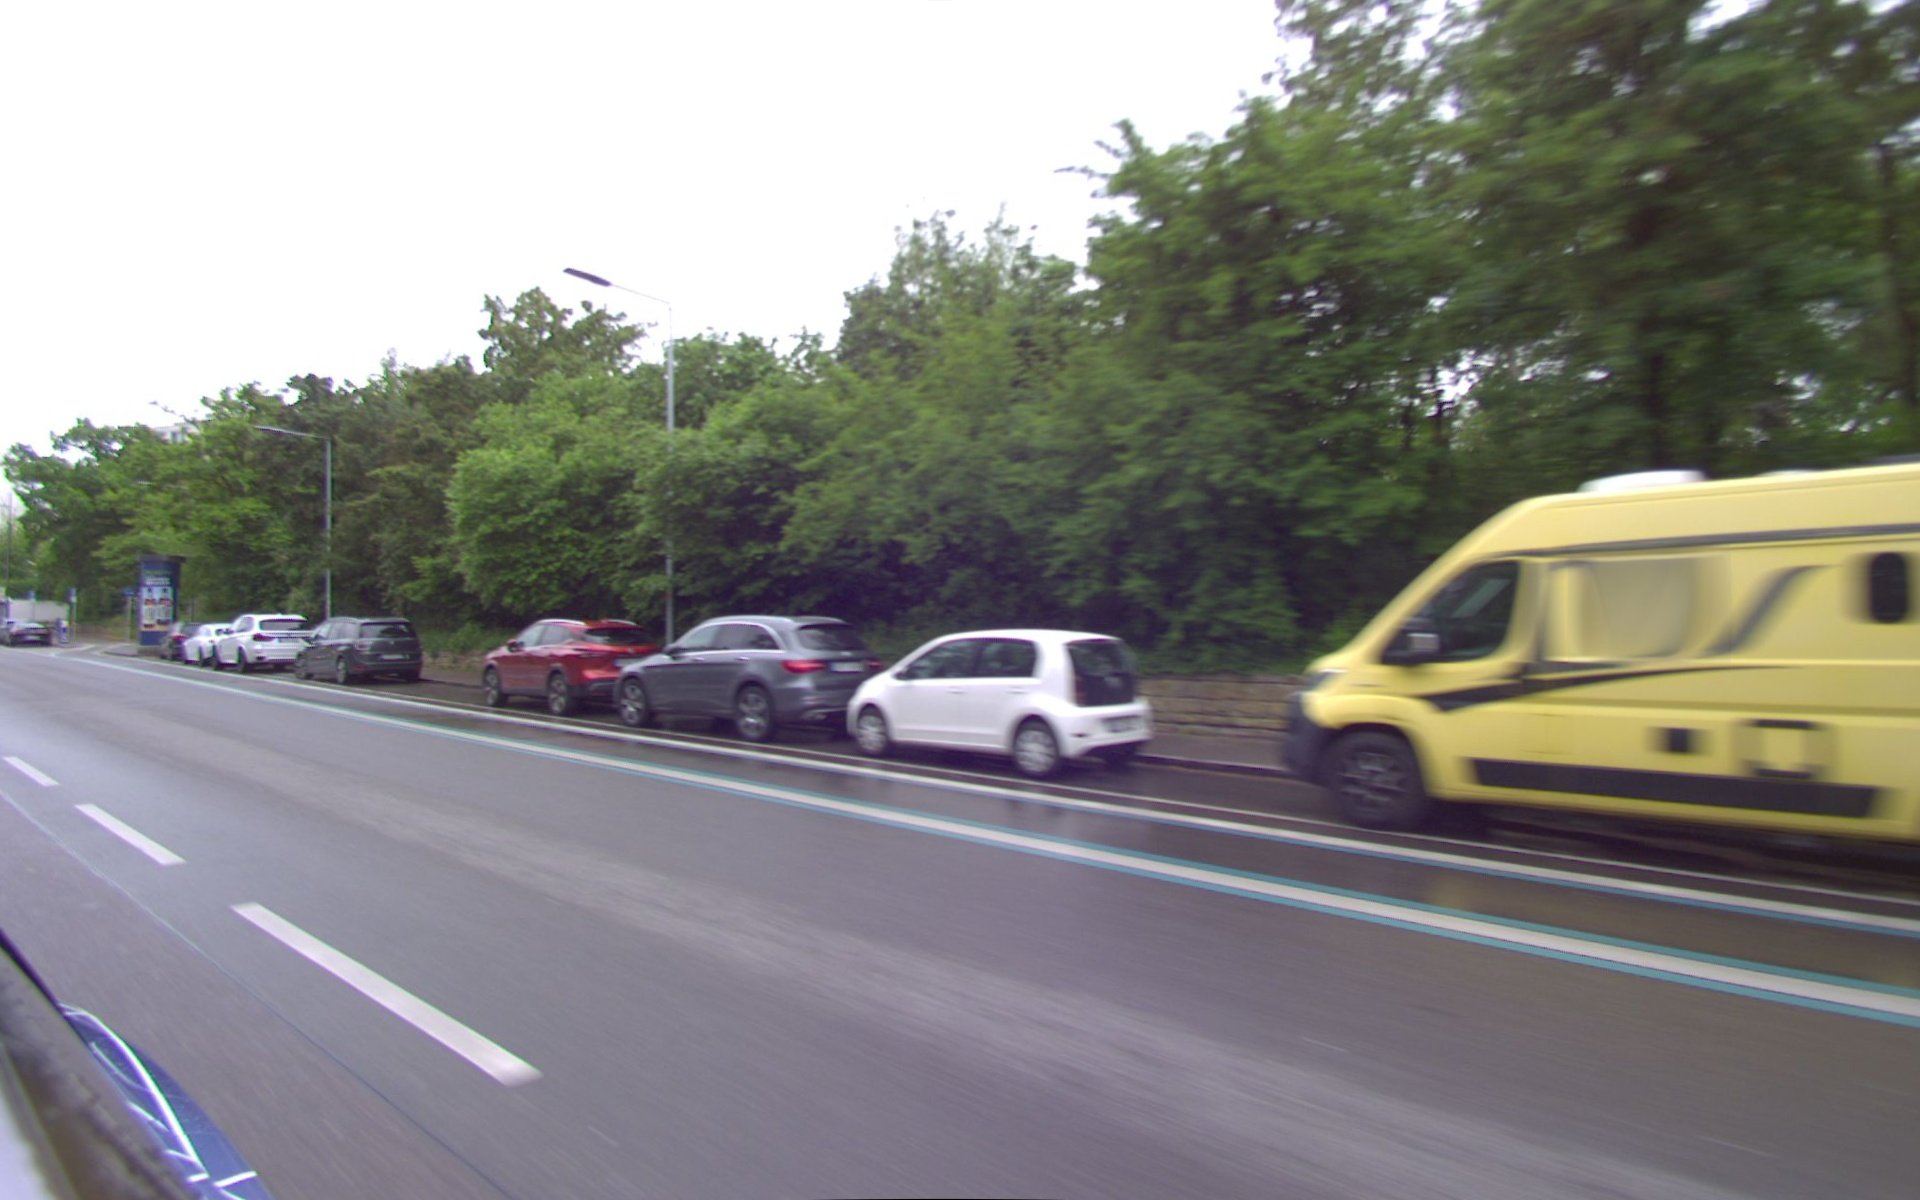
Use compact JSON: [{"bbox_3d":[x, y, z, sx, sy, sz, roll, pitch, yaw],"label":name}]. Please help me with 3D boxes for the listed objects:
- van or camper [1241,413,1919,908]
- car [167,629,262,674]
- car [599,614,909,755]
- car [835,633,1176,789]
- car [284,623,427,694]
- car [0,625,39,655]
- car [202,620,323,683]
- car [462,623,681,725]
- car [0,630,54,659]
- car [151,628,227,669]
[{"bbox_3d":[5.058,0.363,6.951,5.682,2.647,2.120,-2,-2,43],"label":"van or camper"},{"bbox_3d":[-26.078,1.757,35.358,4.705,1.471,1.700,-2,-2,41],"label":"car"},{"bbox_3d":[-3.079,1.100,14.588,4.612,1.713,1.973,-2,-2,40],"label":"car"},{"bbox_3d":[0.401,1.108,11.317,3.656,1.460,1.600,-2,-3,43],"label":"car"},{"bbox_3d":[-15.646,1.448,26.096,4.566,1.661,1.714,-1,-1,39],"label":"car"},{"bbox_3d":[-57.336,2.384,61.264,4.926,1.601,1.822,0,0,41],"label":"car"},{"bbox_3d":[-21.715,1.527,31.438,4.958,1.779,1.972,-1,-1,42],"label":"car"},{"bbox_3d":[-7.143,1.250,18.388,4.489,1.629,1.898,-2,-3,43],"label":"car"},{"bbox_3d":[-52.769,2.458,57.131,4.781,1.425,1.886,0,0,41],"label":"car"},{"bbox_3d":[-30.064,1.853,39.422,4.588,1.456,1.729,-2,-1,44],"label":"car"}]
